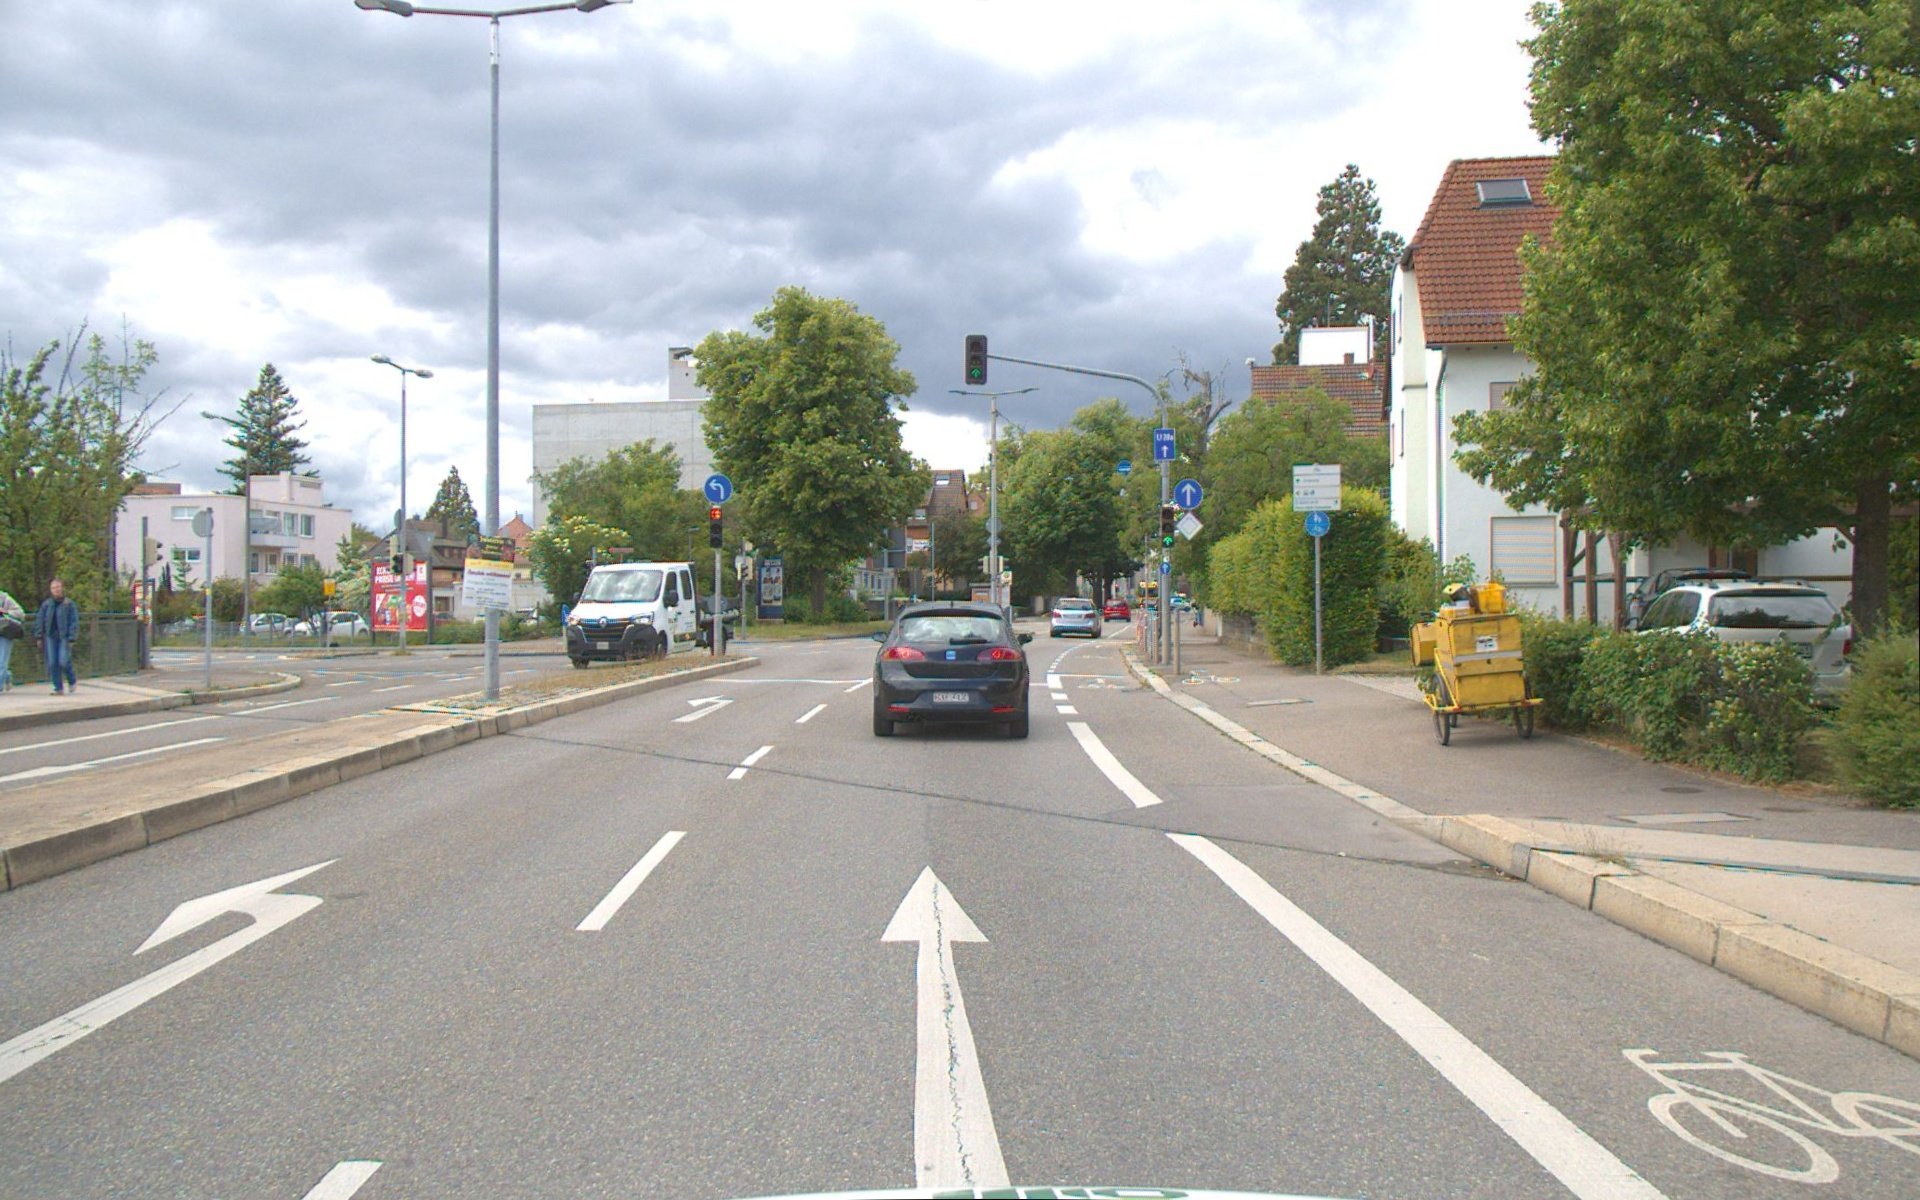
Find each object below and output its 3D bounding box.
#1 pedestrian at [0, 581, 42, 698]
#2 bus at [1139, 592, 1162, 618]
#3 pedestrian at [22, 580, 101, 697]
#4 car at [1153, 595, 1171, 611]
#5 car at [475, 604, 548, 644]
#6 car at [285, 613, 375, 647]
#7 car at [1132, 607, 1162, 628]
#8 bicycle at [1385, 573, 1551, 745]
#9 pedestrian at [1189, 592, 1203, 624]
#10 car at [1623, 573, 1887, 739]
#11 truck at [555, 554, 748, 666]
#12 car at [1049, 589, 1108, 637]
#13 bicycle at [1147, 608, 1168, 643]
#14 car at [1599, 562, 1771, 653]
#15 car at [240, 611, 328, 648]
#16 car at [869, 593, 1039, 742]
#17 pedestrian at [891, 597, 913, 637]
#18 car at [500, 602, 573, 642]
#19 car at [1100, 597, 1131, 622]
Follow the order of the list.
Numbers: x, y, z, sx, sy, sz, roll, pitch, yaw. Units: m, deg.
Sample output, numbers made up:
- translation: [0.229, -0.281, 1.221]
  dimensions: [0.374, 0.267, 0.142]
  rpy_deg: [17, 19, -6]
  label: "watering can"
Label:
- translation: [-13.849, 0.565, 23.995]
  dimensions: [0.643, 1.662, 0.831]
  rpy_deg: [1, 0, -8]
  label: "pedestrian"
- translation: [24.437, 0.621, 211.782]
  dimensions: [2.807, 3.191, 6.402]
  rpy_deg: [-1, 0, 8]
  label: "bus"
- translation: [-13.101, 0.557, 24.145]
  dimensions: [0.643, 1.662, 1.069]
  rpy_deg: [1, 0, -8]
  label: "pedestrian"
- translation: [21.760, 0.336, 178.013]
  dimensions: [1.809, 1.624, 4.109]
  rpy_deg: [-1, 0, 8]
  label: "car"
- translation: [-24.383, 1.298, 90.048]
  dimensions: [1.952, 2.049, 4.002]
  rpy_deg: [2, 0, 17]
  label: "car"
- translation: [-30.453, 1.434, 80.048]
  dimensions: [1.760, 1.581, 3.998]
  rpy_deg: [-1, 0, 23]
  label: "car"
- translation: [15.702, 1.475, 139.010]
  dimensions: [1.951, 1.713, 4.003]
  rpy_deg: [-1, 0, 14]
  label: "car"
- translation: [5.077, 0.538, 16.760]
  dimensions: [0.873, 1.536, 2.784]
  rpy_deg: [-4, 0, 4]
  label: "bicycle"
- translation: [11.593, 0.373, 81.171]
  dimensions: [0.538, 1.543, 0.361]
  rpy_deg: [-3, 0, 18]
  label: "pedestrian"
- translation: [8.439, 0.503, 17.919]
  dimensions: [1.634, 1.530, 4.064]
  rpy_deg: [0, 1, 12]
  label: "car"
- translation: [-6.908, 0.212, 38.062]
  dimensions: [2.080, 2.304, 6.811]
  rpy_deg: [-1, 0, 10]
  label: "truck"
- translation: [4.567, 0.458, 63.274]
  dimensions: [1.780, 1.729, 4.257]
  rpy_deg: [-1, 0, 10]
  label: "car"
- translation: [5.942, 0.758, 49.868]
  dimensions: [0.614, 1.046, 1.505]
  rpy_deg: [0, 0, 6]
  label: "bicycle"
- translation: [12.832, 0.133, 29.511]
  dimensions: [1.632, 1.475, 4.003]
  rpy_deg: [-1, 0, 6]
  label: "car"
- translation: [-33.885, 1.461, 83.045]
  dimensions: [1.760, 1.748, 3.998]
  rpy_deg: [-1, 0, 23]
  label: "car"
- translation: [-0.002, 0.689, 18.992]
  dimensions: [1.723, 1.474, 3.715]
  rpy_deg: [2, 0, 2]
  label: "car"
- translation: [-2.190, 0.633, 62.252]
  dimensions: [0.758, 1.431, 0.600]
  rpy_deg: [3, 2, -4]
  label: "pedestrian"
- translation: [-22.809, 1.177, 89.287]
  dimensions: [1.952, 2.049, 4.002]
  rpy_deg: [2, 0, 17]
  label: "car"
- translation: [10.096, 0.622, 106.957]
  dimensions: [1.900, 1.507, 4.256]
  rpy_deg: [-1, 0, 7]
  label: "car"
